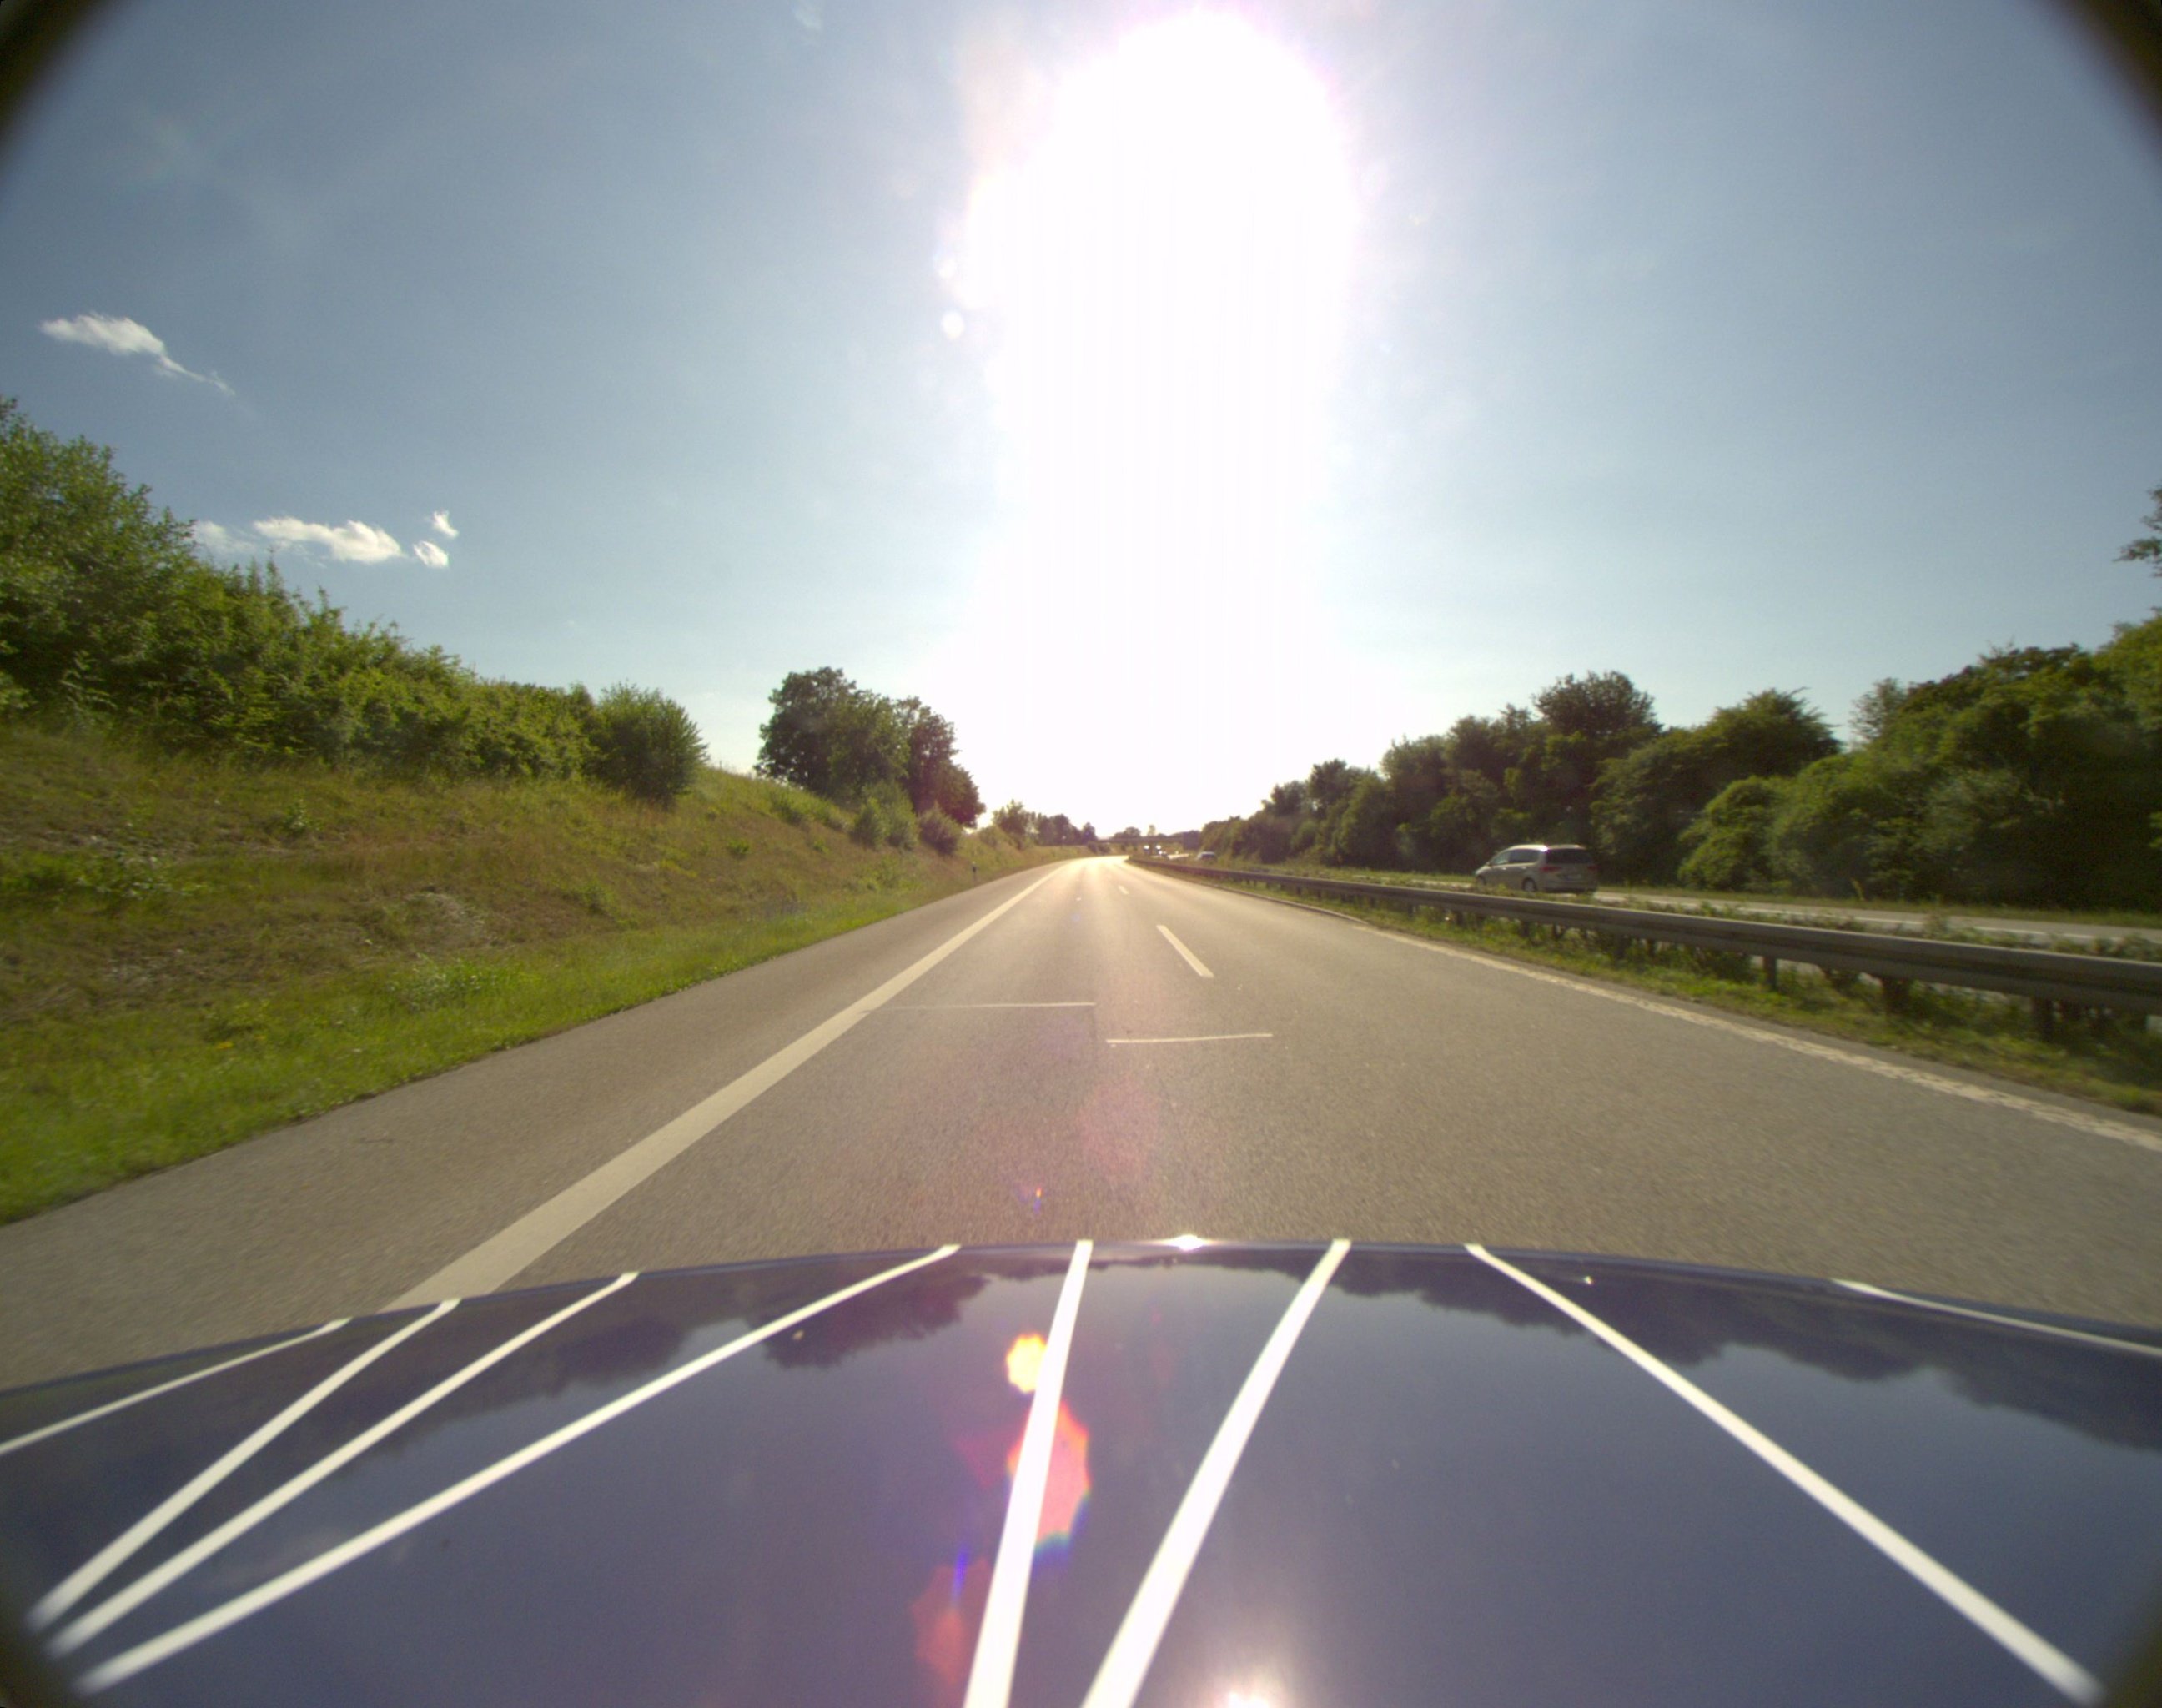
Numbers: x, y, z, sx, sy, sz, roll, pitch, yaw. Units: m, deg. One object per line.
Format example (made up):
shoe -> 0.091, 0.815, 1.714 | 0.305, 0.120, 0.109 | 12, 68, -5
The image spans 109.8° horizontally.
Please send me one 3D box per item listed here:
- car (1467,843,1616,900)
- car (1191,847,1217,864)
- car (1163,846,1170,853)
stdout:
car -> 14.151, 0.455, 23.723 | 1.772, 1.575, 4.792 | -1, 1, 1
car -> 11.539, 0.078, 71.598 | 1.772, 1.486, 4.228 | 1, 1, 1
car -> 26.155, -1.504, 232.413 | 1.998, 2.002, 4.855 | 1, 1, 3
